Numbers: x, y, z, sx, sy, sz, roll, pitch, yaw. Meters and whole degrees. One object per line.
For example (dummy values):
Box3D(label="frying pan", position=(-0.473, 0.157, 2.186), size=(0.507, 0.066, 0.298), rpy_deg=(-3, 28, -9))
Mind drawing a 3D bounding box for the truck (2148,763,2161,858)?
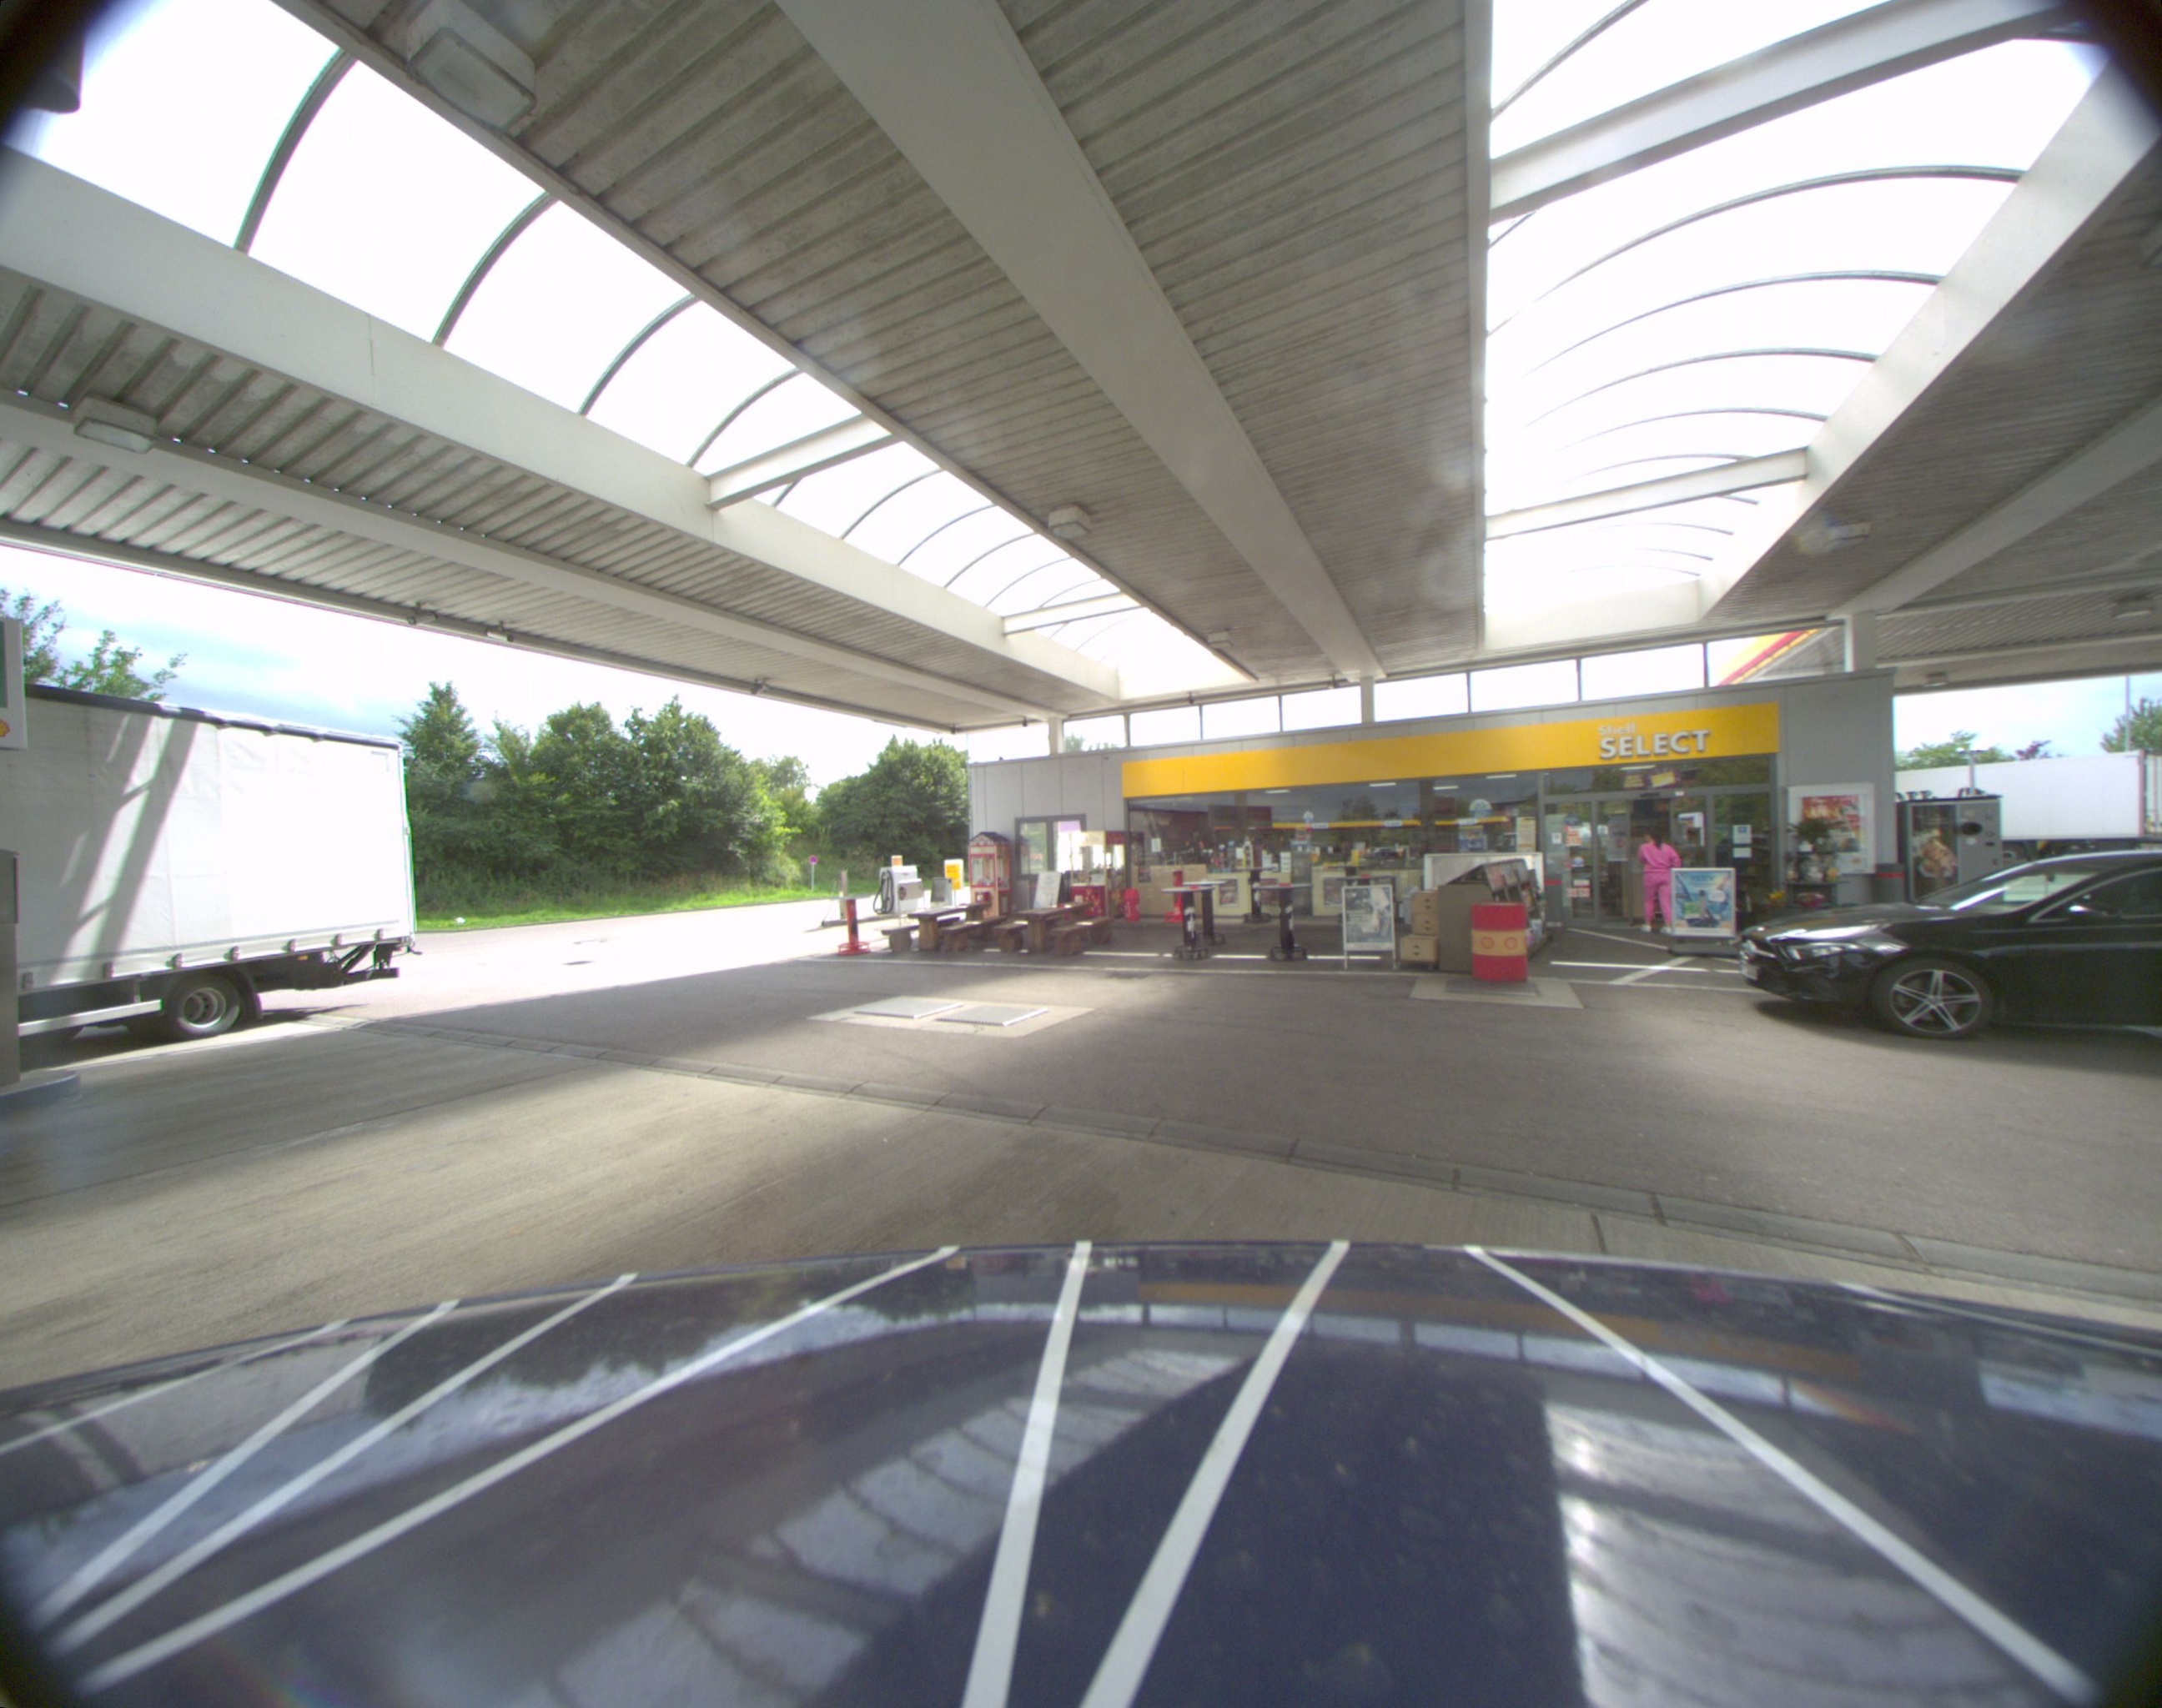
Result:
Box3D(label="truck", position=(51.483, -2.039, 33.153), size=(3.383, 4.479, 6.239), rpy_deg=(-2, 1, 29))

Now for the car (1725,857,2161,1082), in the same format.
Box3D(label="car", position=(8.156, 0.813, 5.948), size=(4.461, 1.491, 1.782), rpy_deg=(-2, 1, 28))

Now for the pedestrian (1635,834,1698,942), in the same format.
Box3D(label="pedestrian", position=(9.509, 0.542, 12.366), size=(0.626, 1.703, 0.623), rpy_deg=(-2, 1, 20))

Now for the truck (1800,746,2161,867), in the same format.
Box3D(label="truck", position=(35.135, -1.613, 30.071), size=(2.796, 3.982, 9.578), rpy_deg=(-3, 1, -16))
